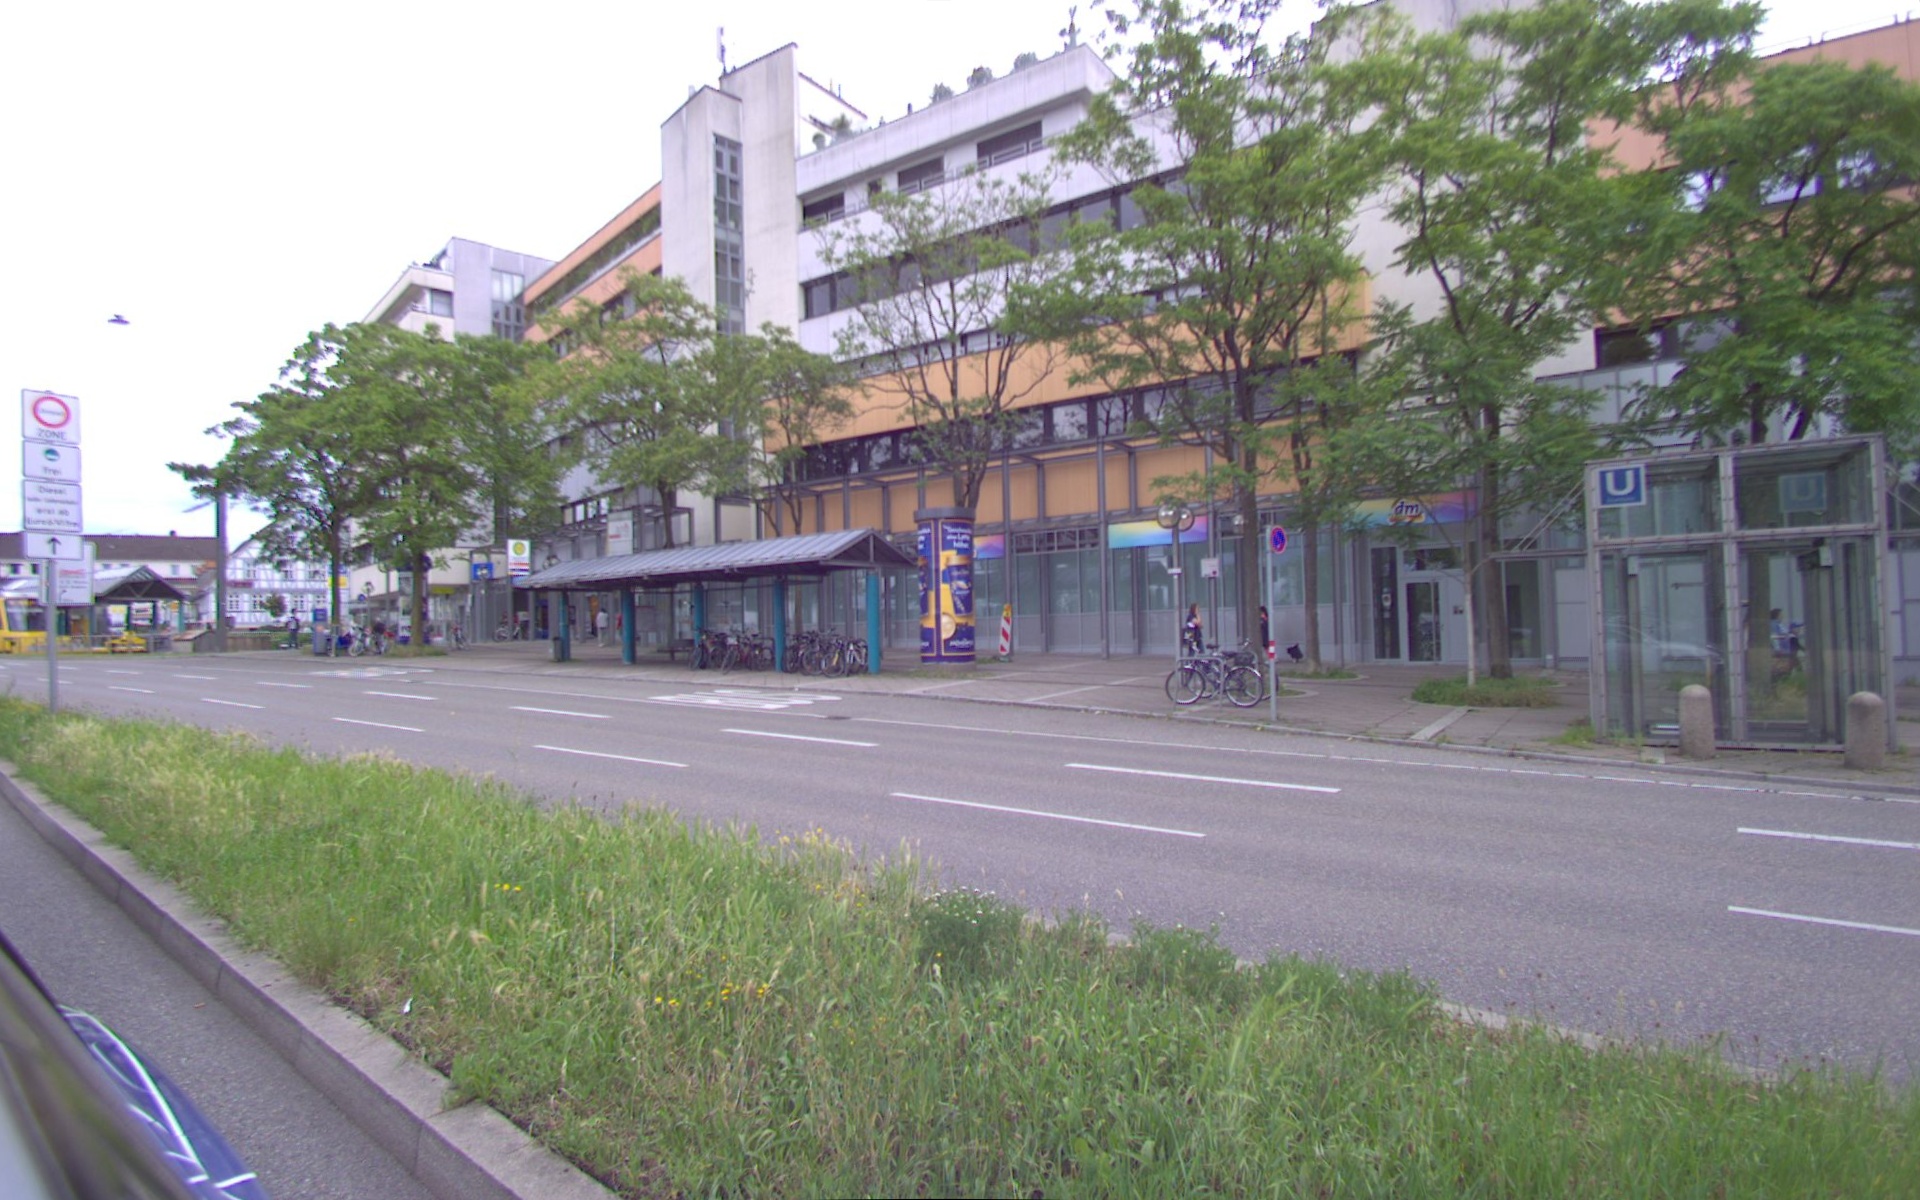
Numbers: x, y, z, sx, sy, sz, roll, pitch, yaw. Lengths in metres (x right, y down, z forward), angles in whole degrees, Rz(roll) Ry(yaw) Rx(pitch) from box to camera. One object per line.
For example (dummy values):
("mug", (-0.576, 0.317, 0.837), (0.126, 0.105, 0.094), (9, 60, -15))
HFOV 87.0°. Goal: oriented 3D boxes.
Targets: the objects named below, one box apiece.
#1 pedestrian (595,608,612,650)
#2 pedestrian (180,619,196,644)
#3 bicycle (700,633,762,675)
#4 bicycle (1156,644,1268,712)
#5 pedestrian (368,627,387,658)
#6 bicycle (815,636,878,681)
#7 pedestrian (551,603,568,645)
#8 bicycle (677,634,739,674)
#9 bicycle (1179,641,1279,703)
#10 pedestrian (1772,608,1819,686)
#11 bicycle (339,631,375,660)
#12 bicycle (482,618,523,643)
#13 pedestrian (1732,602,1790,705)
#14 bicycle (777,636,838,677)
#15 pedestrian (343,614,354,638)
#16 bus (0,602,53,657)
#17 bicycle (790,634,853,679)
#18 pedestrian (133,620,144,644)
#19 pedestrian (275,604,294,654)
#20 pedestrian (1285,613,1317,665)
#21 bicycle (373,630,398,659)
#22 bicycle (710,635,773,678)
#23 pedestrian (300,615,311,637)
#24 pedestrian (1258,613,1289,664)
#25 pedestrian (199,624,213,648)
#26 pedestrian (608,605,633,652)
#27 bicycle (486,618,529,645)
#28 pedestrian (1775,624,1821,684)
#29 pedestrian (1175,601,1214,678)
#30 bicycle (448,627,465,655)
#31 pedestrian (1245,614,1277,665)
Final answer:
("pedestrian", (-15.483, 1.250, 43.908), (0.639, 1.823, 0.761), (0, -2, -16))
("pedestrian", (-62.581, 2.531, 82.015), (0.867, 2.029, 1.010), (1, -2, -44))
("bicycle", (-6.464, 1.519, 28.586), (0.549, 1.048, 1.714), (-2, 1, 38))
("bicycle", (4.360, 1.329, 17.601), (0.802, 1.068, 1.739), (0, -1, -40))
("pedestrian", (-34.961, 2.559, 60.718), (0.752, 1.859, 0.755), (-1, -2, 41))
("bicycle", (-2.913, 1.480, 26.062), (0.549, 1.048, 1.714), (-2, 0, 38))
("pedestrian", (-19.461, 1.160, 49.176), (0.558, 2.029, 0.611), (1, -2, -44))
("bicycle", (-7.242, 1.541, 29.150), (0.549, 1.048, 1.714), (-2, 0, 38))
("bicycle", (4.976, 1.318, 18.792), (1.737, 1.074, 0.542), (-2, -1, 45))
("pedestrian", (16.529, 0.923, 20.034), (0.620, 1.515, 0.562), (-1, -2, 32))
("bicycle", (-23.623, 1.774, 39.652), (0.585, 1.085, 2.042), (0, -1, -12))
("bicycle", (-26.107, 1.745, 57.767), (2.106, 1.377, 0.621), (-1, 0, -24))
("pedestrian", (13.379, 0.877, 16.920), (0.721, 1.662, 0.669), (-1, -1, 37))
("bicycle", (-4.146, 1.521, 27.562), (0.549, 1.048, 1.714), (-2, -1, 38))
("pedestrian", (-30.898, 1.327, 51.135), (0.368, 1.188, 0.338), (-1, -2, 31))
("bus", (-55.992, 1.694, 58.614), (8.470, 3.006, 2.530), (-1, -2, 29))
("bicycle", (-3.622, 1.464, 26.595), (0.549, 1.048, 1.714), (-2, 0, 38))
("pedestrian", (-70.477, 2.736, 86.827), (0.731, 2.029, 0.940), (1, -2, -39))
("pedestrian", (-31.805, 1.363, 47.661), (0.608, 2.325, 0.583), (-1, -2, 39))
("pedestrian", (9.281, 1.058, 27.556), (0.694, 1.385, 0.578), (-1, -2, 34))
("bicycle", (-22.756, 1.761, 40.110), (0.584, 1.085, 2.044), (0, -1, -21))
("bicycle", (-5.969, 1.536, 27.723), (0.549, 1.048, 1.714), (-2, 1, 38))
("pedestrian", (-44.650, 1.761, 69.035), (0.548, 1.506, 0.454), (1, -2, -41))
("pedestrian", (8.709, 1.065, 28.112), (0.694, 1.385, 0.578), (-1, -2, 34))
("pedestrian", (-50.143, 2.404, 67.307), (0.581, 1.554, 0.570), (-1, -2, 32))
("pedestrian", (-15.046, 1.262, 44.825), (0.794, 2.029, 0.701), (-1, 0, 40))
("bicycle", (-24.958, 1.734, 55.789), (2.107, 1.385, 0.621), (-1, 0, -31))
("pedestrian", (16.926, 1.077, 20.449), (0.620, 1.190, 0.418), (-1, -2, 31))
("pedestrian", (5.575, 0.942, 24.074), (0.769, 1.800, 0.525), (-1, -2, 33))
("bicycle", (-21.361, 1.715, 42.930), (0.584, 1.134, 2.044), (1, -1, -26))
("pedestrian", (8.203, 1.072, 27.597), (0.694, 1.385, 0.578), (-1, -2, 34))
